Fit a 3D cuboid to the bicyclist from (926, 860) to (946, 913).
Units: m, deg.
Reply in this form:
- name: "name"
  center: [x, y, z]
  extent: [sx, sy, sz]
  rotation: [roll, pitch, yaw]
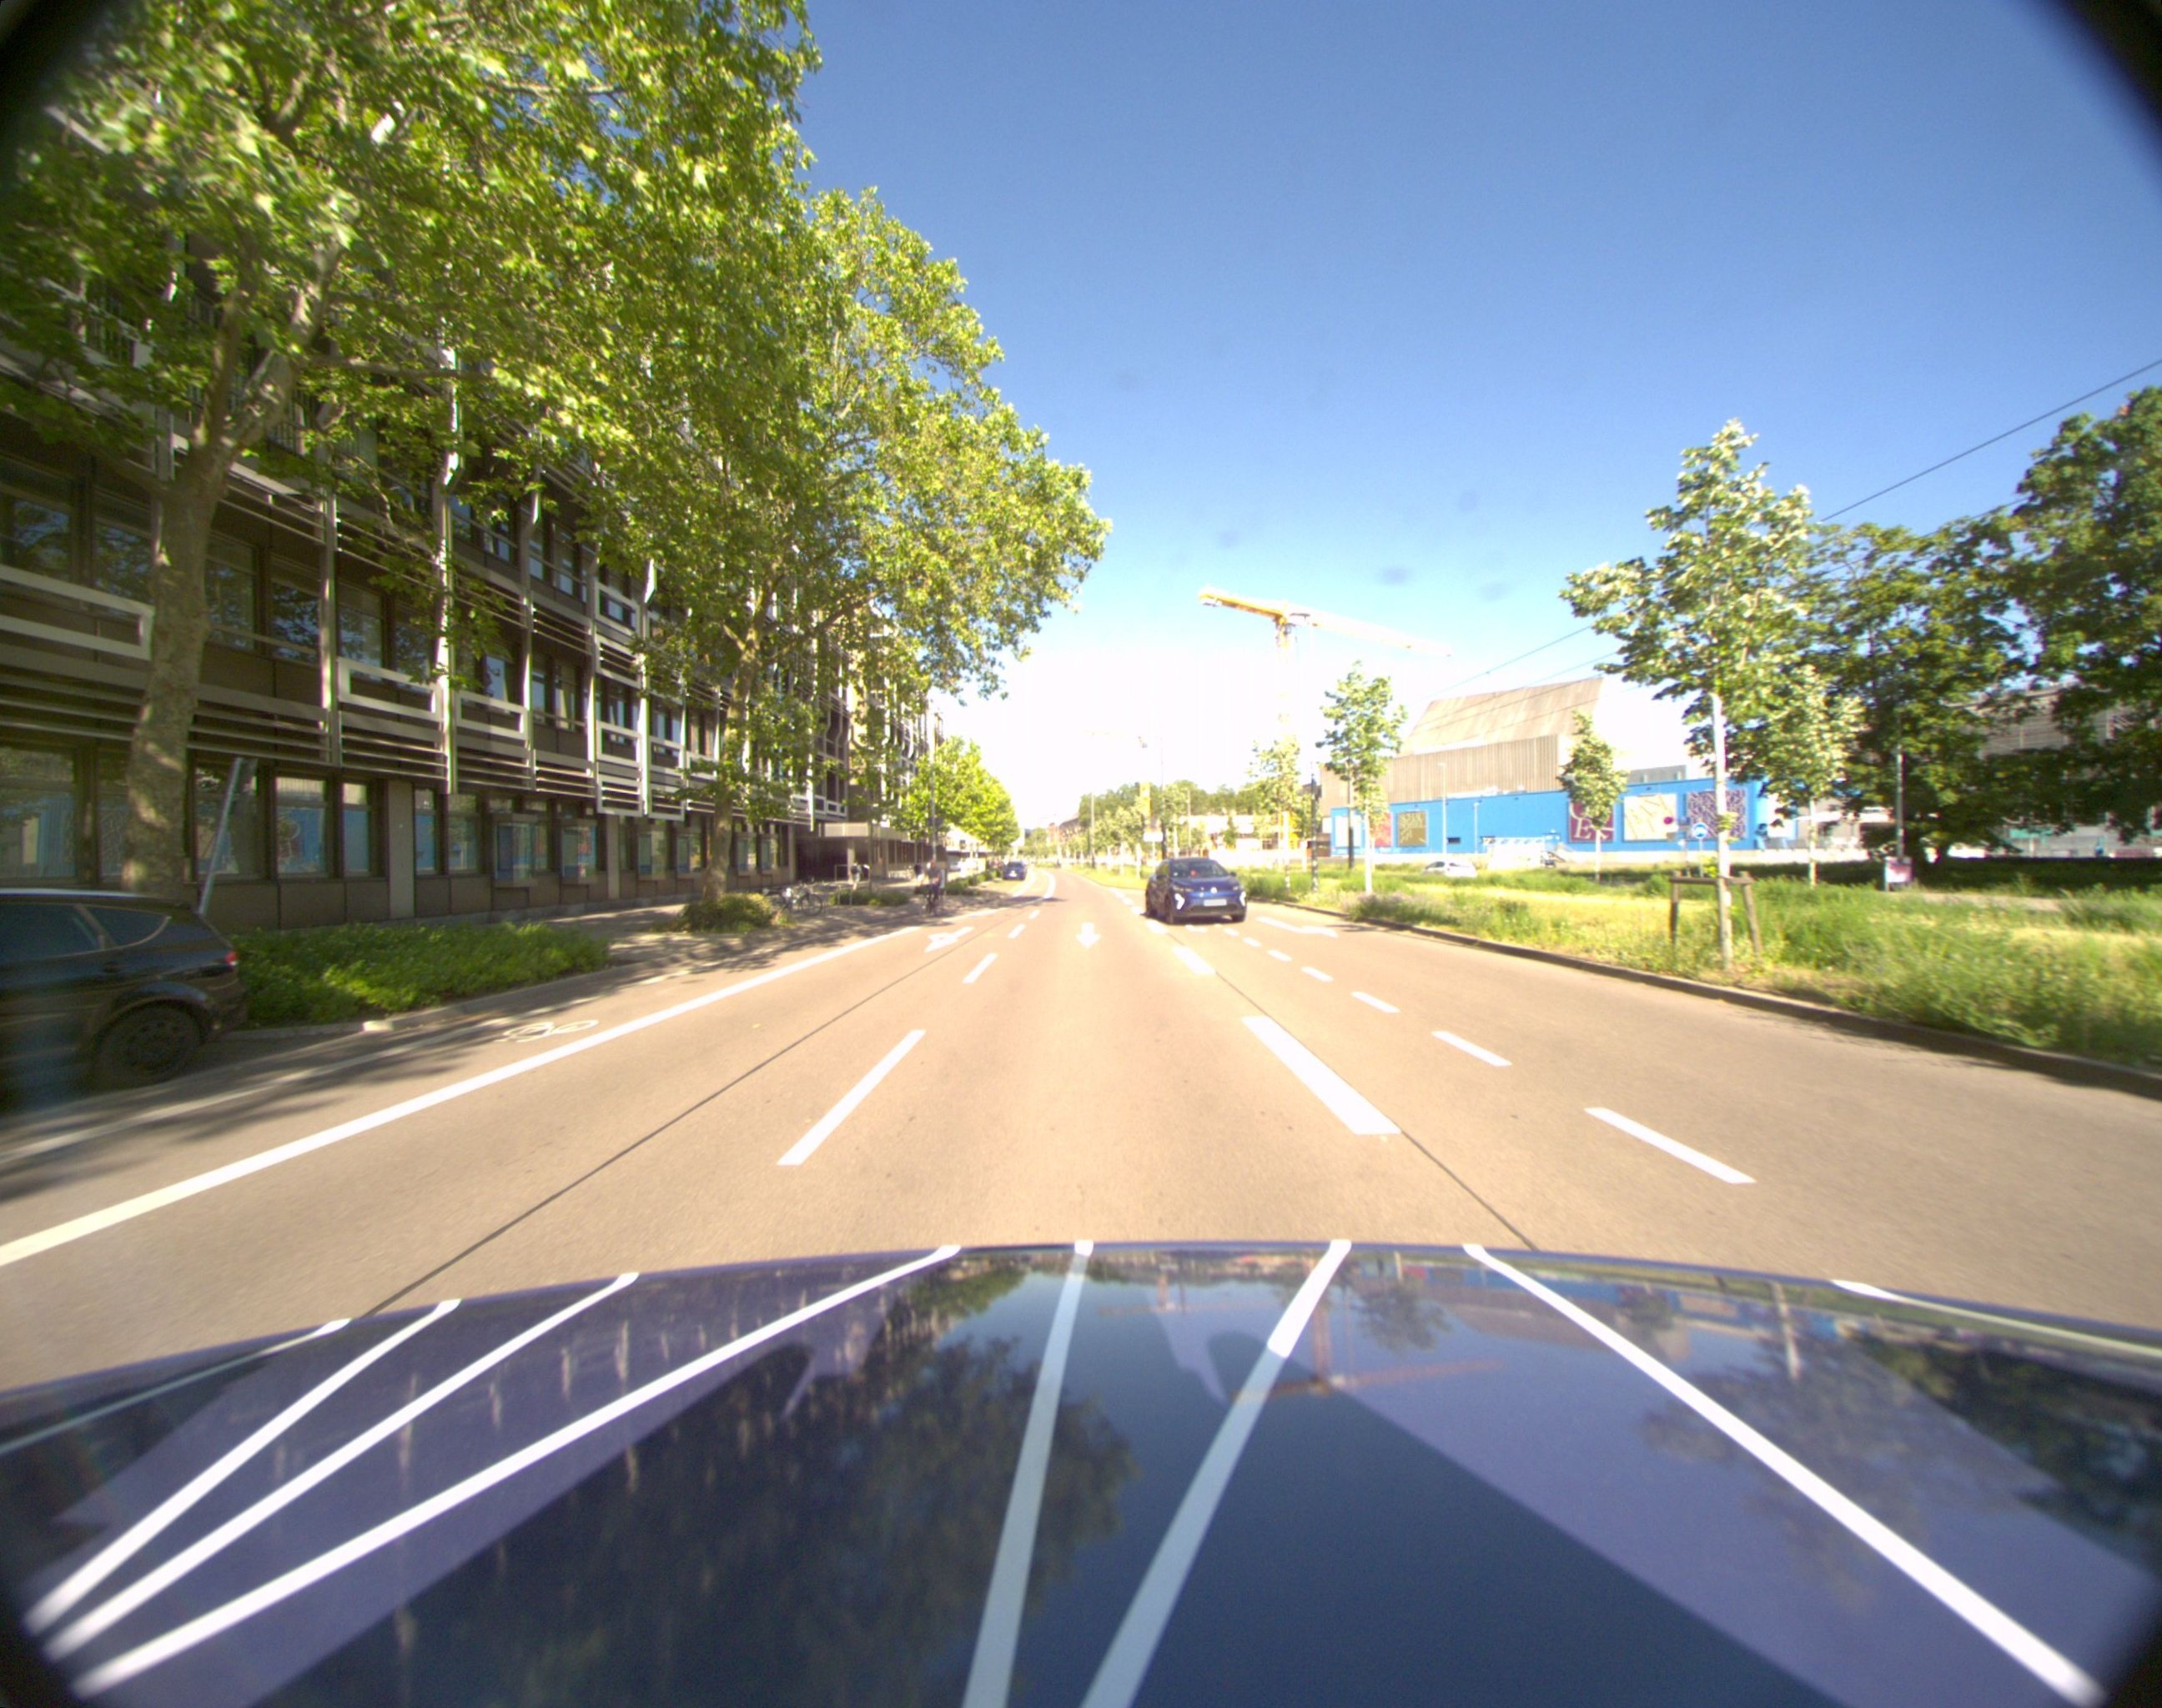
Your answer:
- name: "bicyclist"
  center: [-4.462, 0.986, 23.372]
  extent: [0.514, 1.592, 0.536]
  rotation: [-1, 1, -4]

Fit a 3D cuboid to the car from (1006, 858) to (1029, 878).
- name: "car"
  center: [-5.626, 1.224, 68.034]
  extent: [1.854, 1.647, 4.847]
  rotation: [1, 0, -2]

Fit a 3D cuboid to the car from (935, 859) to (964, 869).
- name: "car"
  center: [-21.355, 1.663, 123.397]
  extent: [4.411, 1.535, 1.851]
  rotation: [-1, 0, -16]

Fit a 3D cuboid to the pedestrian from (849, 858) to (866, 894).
- name: "pedestrian"
  center: [-10.583, 1.019, 35.995]
  extent: [0.512, 1.691, 0.774]
  rotation: [-1, 0, 0]

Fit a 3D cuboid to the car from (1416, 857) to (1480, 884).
- name: "car"
  center: [20.228, 0.874, 42.077]
  extent: [1.637, 1.390, 3.833]
  rotation: [-1, 0, -1]

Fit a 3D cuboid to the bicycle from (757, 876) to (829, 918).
- name: "bicycle"
  center: [-8.716, 1.301, 23.006]
  extent: [1.942, 1.229, 0.579]
  rotation: [0, 0, -2]

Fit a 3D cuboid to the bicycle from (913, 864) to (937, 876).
- name: "bicycle"
  center: [-12.746, 1.267, 62.064]
  extent: [1.862, 0.933, 0.427]
  rotation: [1, 1, 2]

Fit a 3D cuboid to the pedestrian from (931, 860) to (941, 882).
- name: "pedestrian"
  center: [-9.842, 1.156, 51.558]
  extent: [0.512, 1.466, 0.736]
  rotation: [-1, 0, 0]

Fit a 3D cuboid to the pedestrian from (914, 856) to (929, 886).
- name: "pedestrian"
  center: [-9.236, 0.956, 43.995]
  extent: [0.649, 1.718, 0.803]
  rotation: [-1, 0, 0]

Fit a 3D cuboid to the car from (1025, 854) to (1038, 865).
- name: "car"
  center: [-8.649, 0.936, 132.910]
  extent: [1.822, 1.783, 3.999]
  rotation: [-3, 1, 1]

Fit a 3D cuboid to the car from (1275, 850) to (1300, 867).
- name: "car"
  center: [23.835, 0.478, 87.942]
  extent: [1.802, 1.787, 3.999]
  rotation: [-3, 1, 1]

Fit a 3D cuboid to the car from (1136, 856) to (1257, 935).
- name: "car"
  center: [2.706, 0.931, 18.797]
  extent: [1.750, 1.613, 4.150]
  rotation: [-4, 0, -8]

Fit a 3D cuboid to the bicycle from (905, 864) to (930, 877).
- name: "bicycle"
  center: [-13.027, 1.300, 60.619]
  extent: [1.862, 1.005, 0.427]
  rotation: [1, 1, 2]

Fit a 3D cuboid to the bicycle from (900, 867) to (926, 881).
- name: "bicycle"
  center: [-13.095, 1.559, 59.217]
  extent: [1.862, 1.091, 0.427]
  rotation: [1, 1, 2]

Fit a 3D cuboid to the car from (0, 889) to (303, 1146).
- name: "car"
  center: [-8.142, 1.140, 4.725]
  extent: [1.708, 1.633, 4.637]
  rotation: [1, 0, 3]

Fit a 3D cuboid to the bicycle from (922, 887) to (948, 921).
- name: "bicycle"
  center: [-4.447, 1.505, 23.255]
  extent: [0.499, 0.900, 2.196]
  rotation: [-3, 0, -4]
